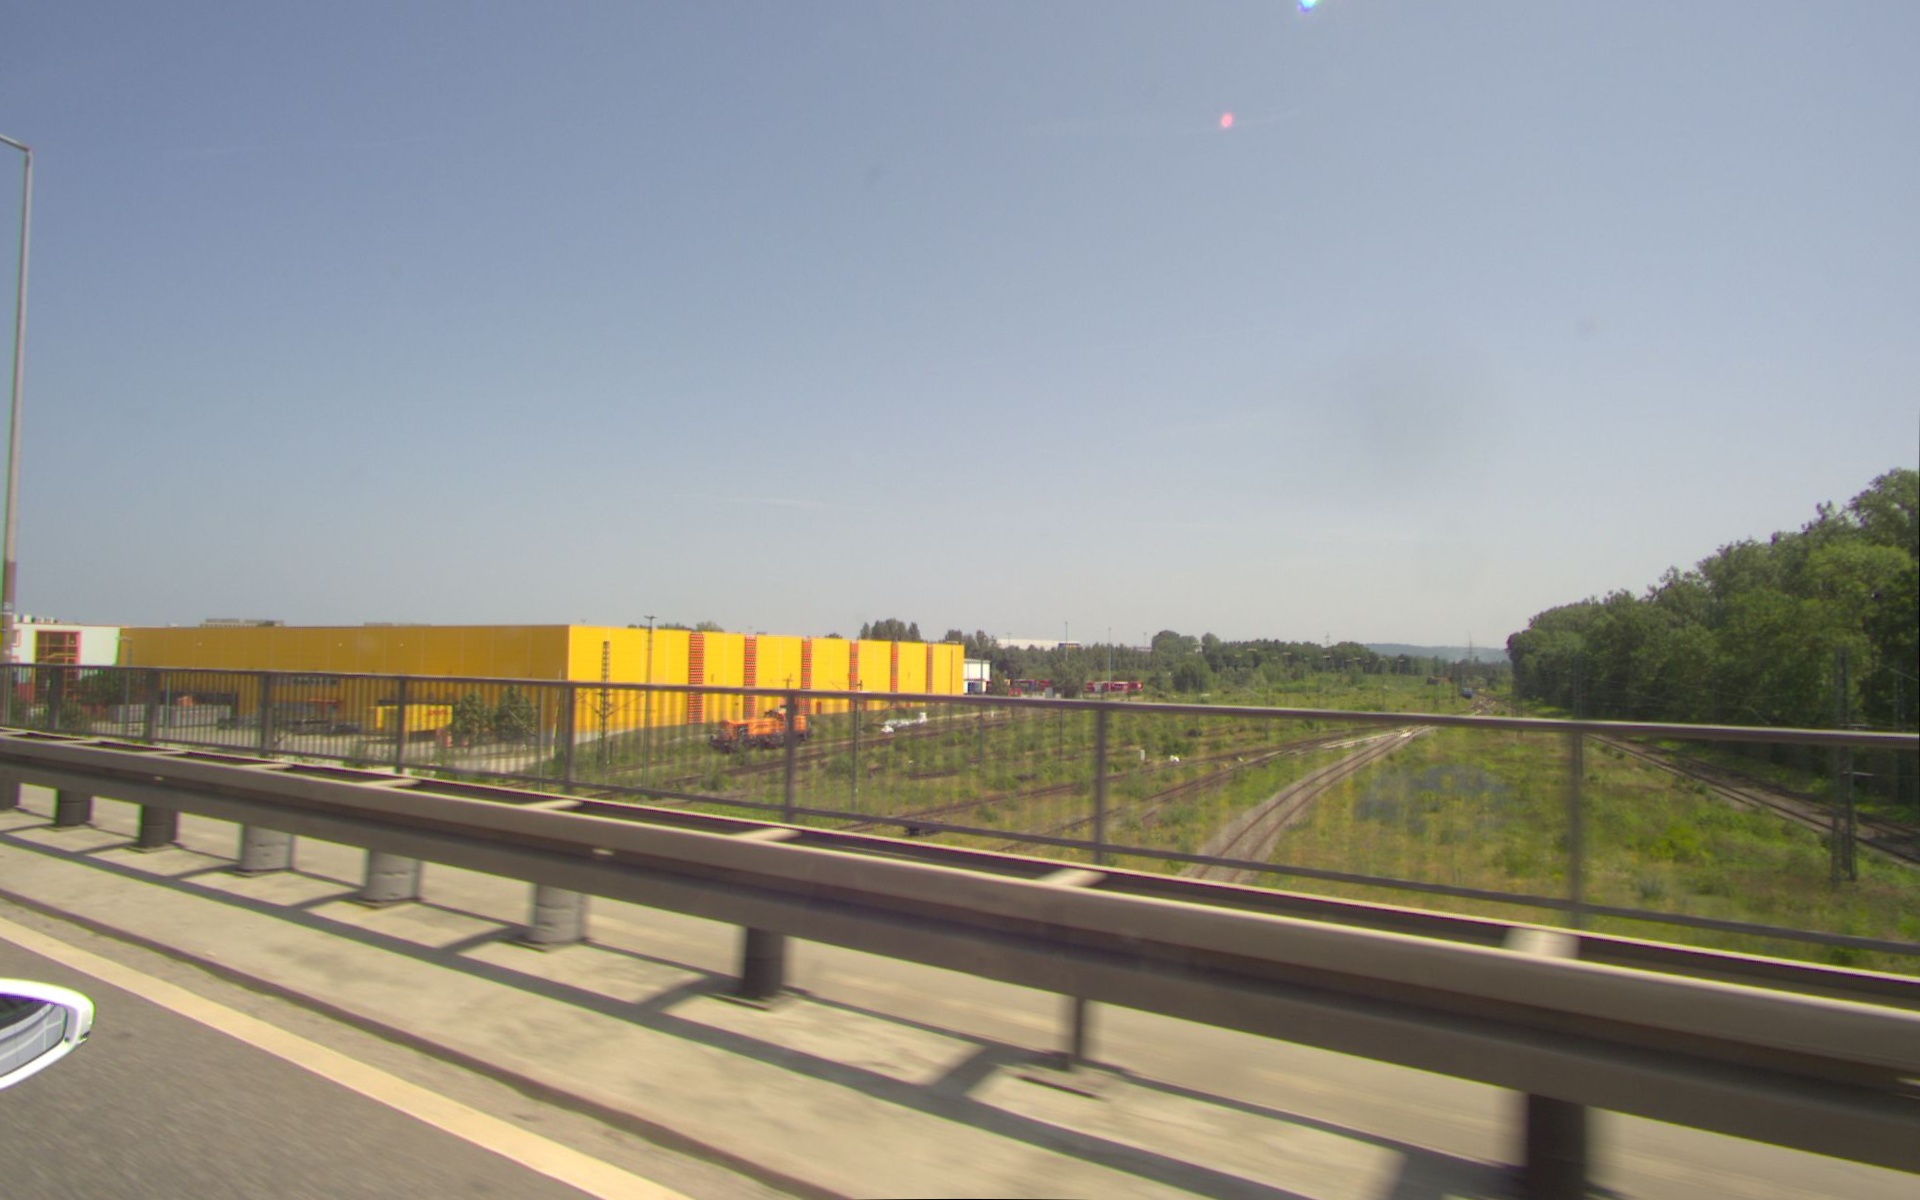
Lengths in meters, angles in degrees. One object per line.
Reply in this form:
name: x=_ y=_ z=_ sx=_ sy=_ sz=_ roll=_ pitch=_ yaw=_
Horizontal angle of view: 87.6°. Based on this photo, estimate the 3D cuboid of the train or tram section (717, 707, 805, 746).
train or tram section: x=-21.858 y=13.902 z=111.376 sx=2.201 sy=3.732 sz=13.990 roll=0 pitch=-5 yaw=22
